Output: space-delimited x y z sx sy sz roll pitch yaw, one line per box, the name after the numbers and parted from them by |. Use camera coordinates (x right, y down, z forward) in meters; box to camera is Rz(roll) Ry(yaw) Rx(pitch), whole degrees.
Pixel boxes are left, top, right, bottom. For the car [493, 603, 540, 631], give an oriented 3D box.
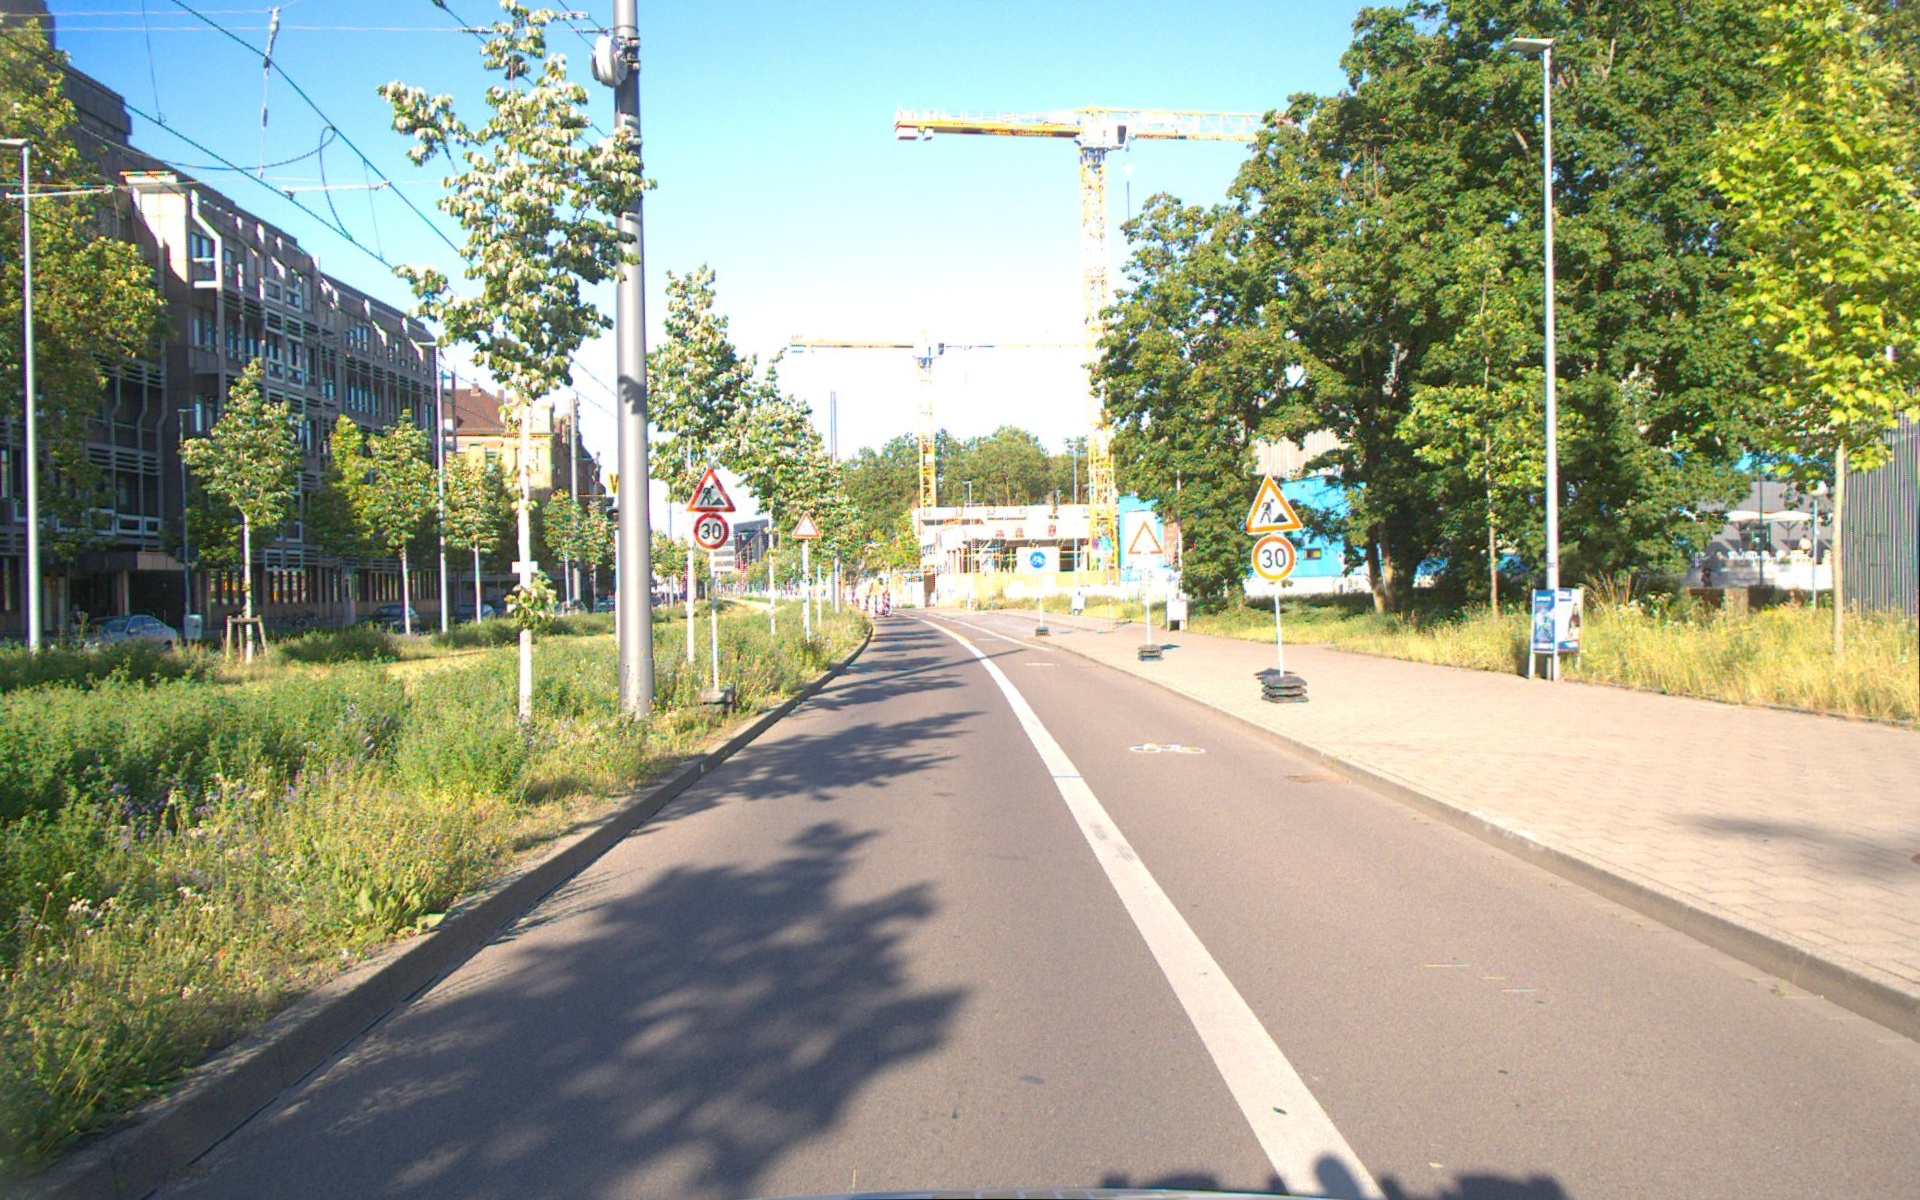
-27.796 1.055 103.741 1.865 1.602 4.299 -2 0 -2 | car

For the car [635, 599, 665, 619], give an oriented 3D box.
-26.554 0.718 141.762 1.865 1.602 4.299 -2 0 -2 | car

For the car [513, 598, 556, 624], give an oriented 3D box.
-28.157 0.711 109.530 1.865 1.602 4.299 -2 0 -2 | car

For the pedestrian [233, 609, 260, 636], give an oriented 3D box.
-33.684 1.059 78.096 0.881 1.189 0.899 -2 0 -1 | pedestrian

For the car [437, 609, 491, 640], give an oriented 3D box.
-27.919 1.364 93.244 1.865 1.602 4.299 -2 0 -2 | car

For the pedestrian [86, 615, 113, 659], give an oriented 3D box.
-31.268 1.338 60.107 0.651 1.559 0.648 -2 0 -7 | pedestrian

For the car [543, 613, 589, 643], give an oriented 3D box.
-23.282 1.626 97.860 1.865 1.602 3.998 -2 0 -2 | car

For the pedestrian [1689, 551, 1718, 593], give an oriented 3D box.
37.081 -1.379 82.467 0.900 2.049 0.940 -1 -1 -30 | pedestrian

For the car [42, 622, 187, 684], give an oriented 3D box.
-23.985 1.467 47.095 1.722 1.542 4.582 -2 0 0 | car

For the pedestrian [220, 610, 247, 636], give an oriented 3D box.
-33.788 1.063 76.946 0.882 1.189 0.865 -2 0 -2 | pedestrian

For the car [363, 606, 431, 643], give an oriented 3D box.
-26.863 1.133 79.020 1.865 1.602 4.299 -2 0 -2 | car
